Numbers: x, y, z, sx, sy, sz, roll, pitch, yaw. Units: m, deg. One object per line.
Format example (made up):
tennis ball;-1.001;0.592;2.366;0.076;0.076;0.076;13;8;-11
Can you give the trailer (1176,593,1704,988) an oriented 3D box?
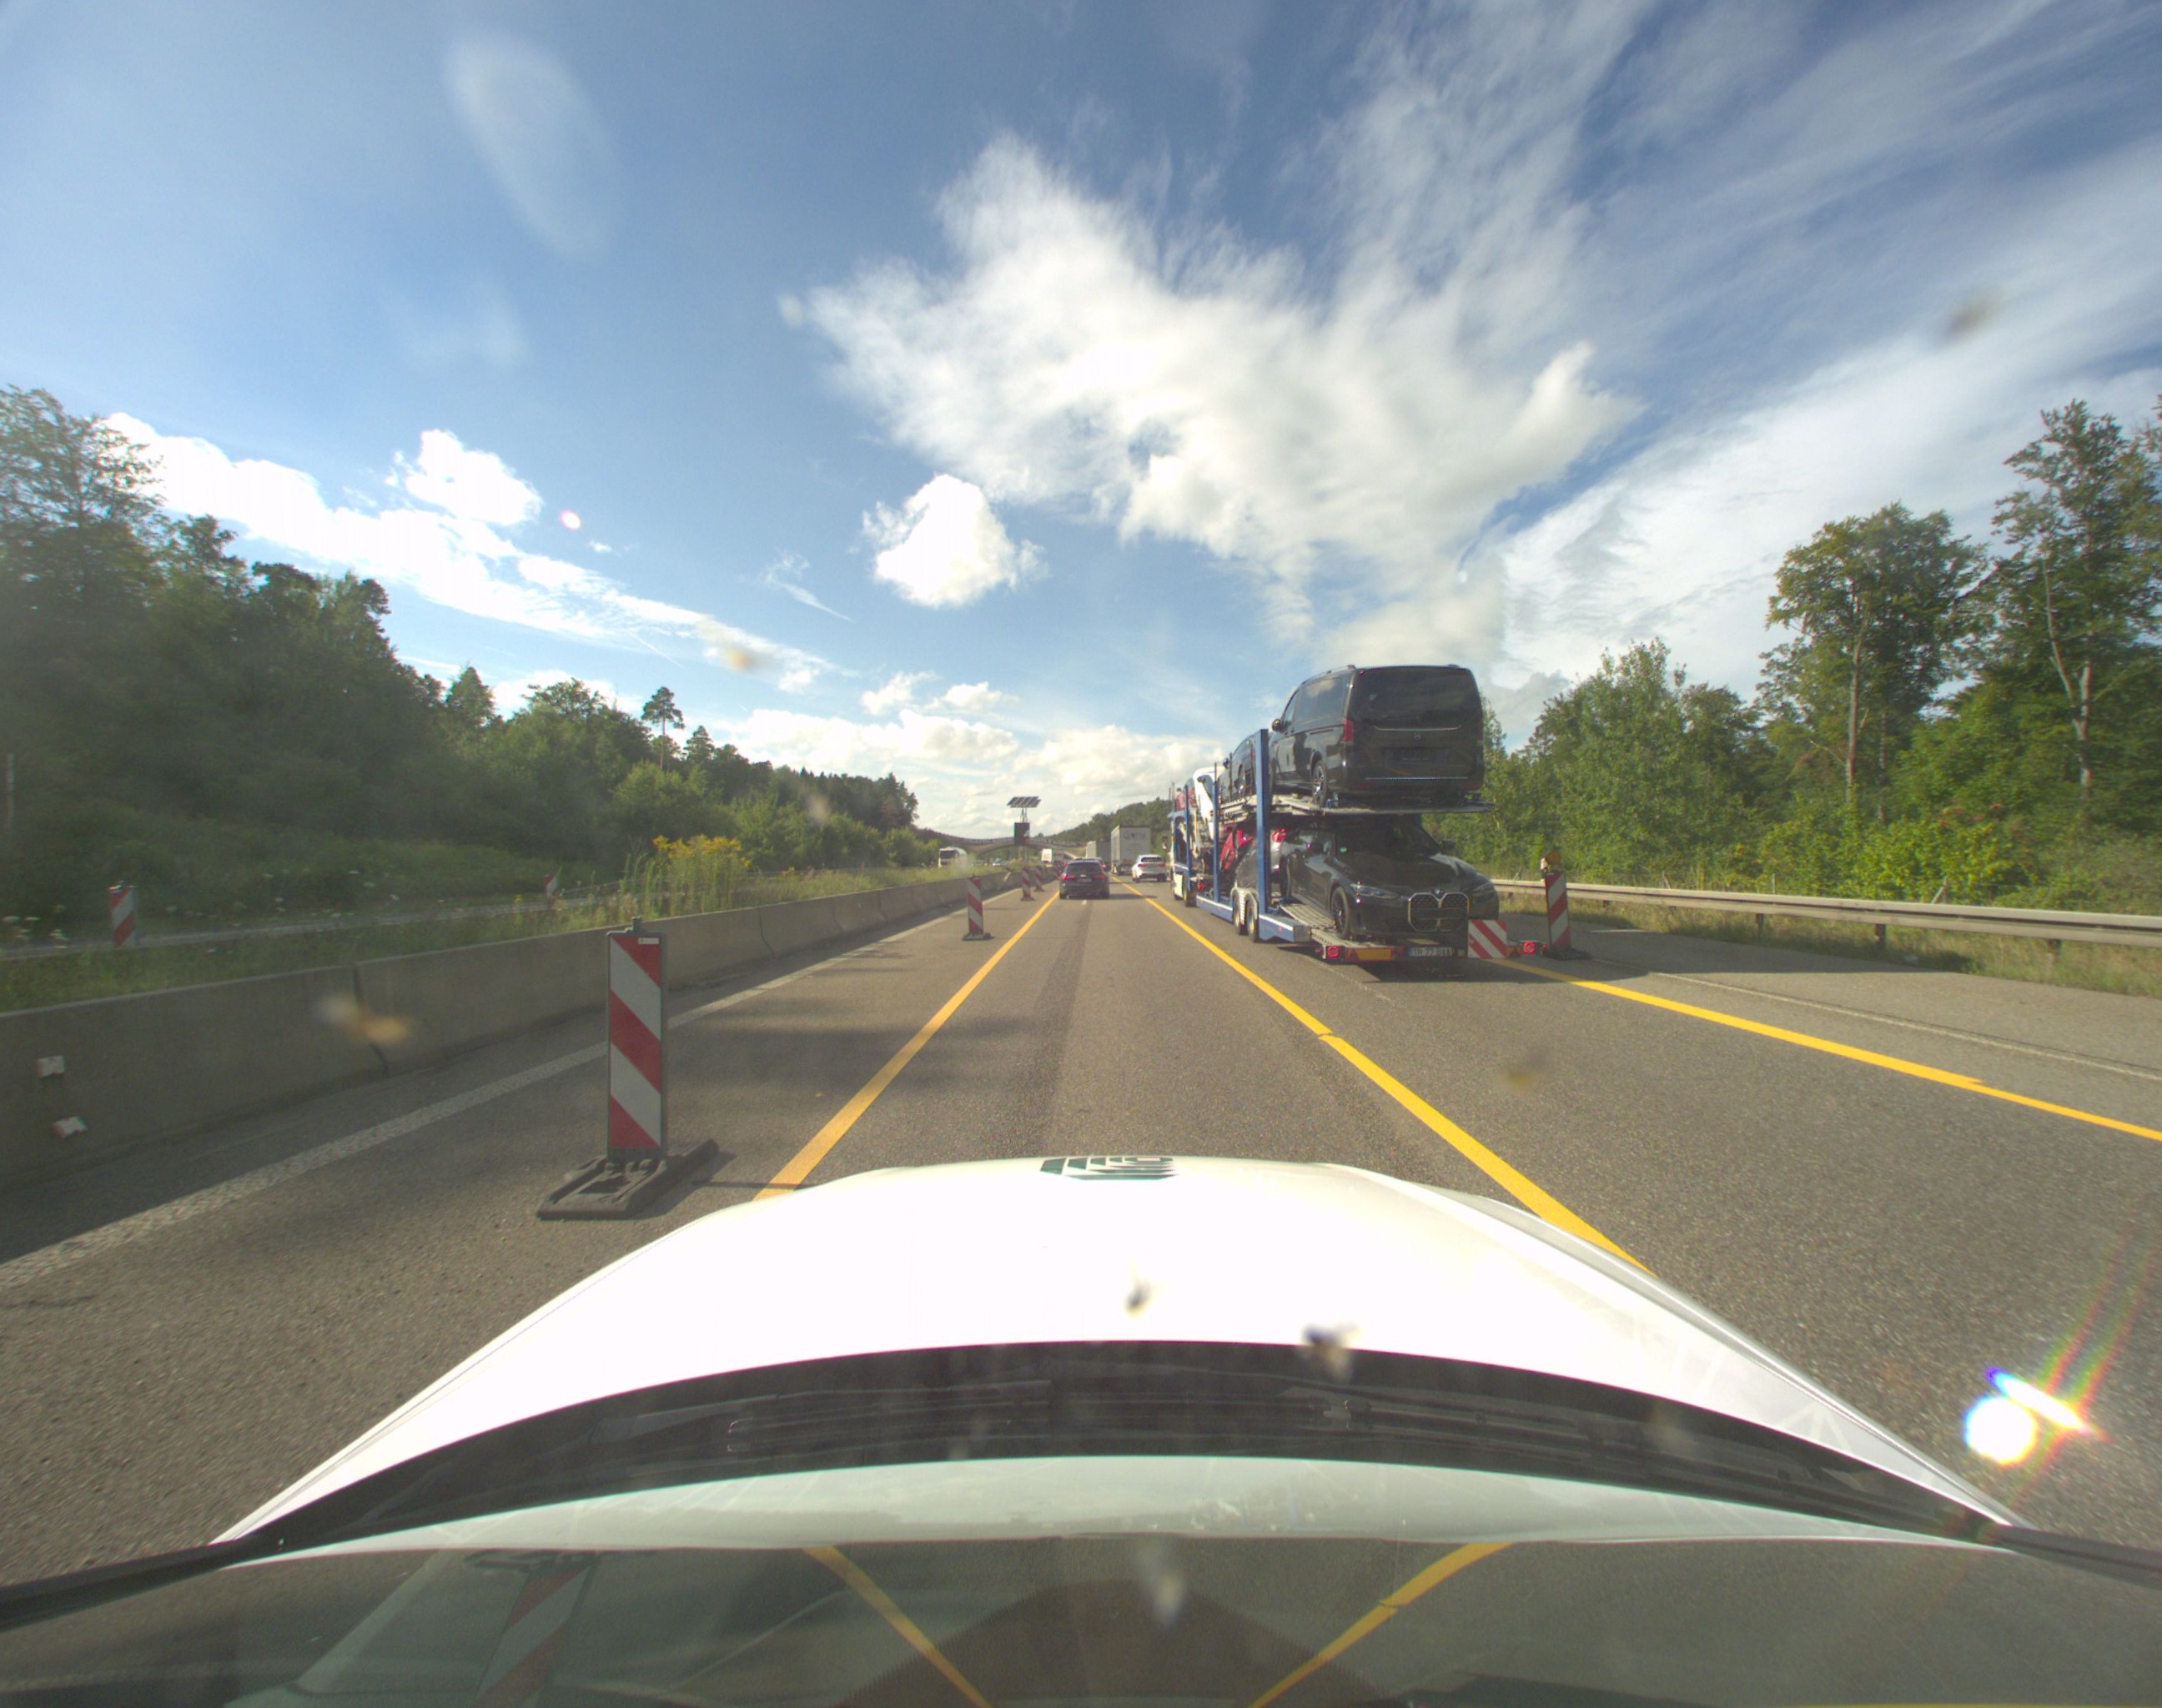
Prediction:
trailer;4.797;-0.614;16.833;3.714;4.196;16.223;-1;-1;0

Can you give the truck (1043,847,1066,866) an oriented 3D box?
truck;-5.831;0.502;174.332;3.652;3.928;11.034;-1;-1;-8

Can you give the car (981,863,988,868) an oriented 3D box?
car;-27.701;3.313;234.151;1.774;1.602;4.671;-1;-1;-3

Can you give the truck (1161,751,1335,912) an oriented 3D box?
truck;4.766;-0.555;25.323;3.749;4.196;7.949;-1;-1;0

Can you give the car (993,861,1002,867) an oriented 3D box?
car;-22.464;2.680;219.753;1.771;1.602;4.019;-1;-1;2

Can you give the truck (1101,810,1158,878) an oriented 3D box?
truck;4.070;-0.703;73.179;3.667;5.353;16.189;-1;-1;-2

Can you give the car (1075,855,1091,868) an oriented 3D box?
car;0.228;1.029;106.915;1.886;1.643;4.012;-1;-1;-3

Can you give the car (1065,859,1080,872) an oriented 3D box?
car;-1.326;1.741;124.451;1.990;2.014;3.994;-1;-1;-4

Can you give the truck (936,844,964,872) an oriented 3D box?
truck;-17.212;0.538;107.214;2.774;3.490;4.941;-1;-1;2

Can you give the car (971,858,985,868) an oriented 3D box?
car;-18.259;1.594;144.644;1.771;1.602;4.019;-1;-1;2

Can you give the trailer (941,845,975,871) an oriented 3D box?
trailer;-17.012;0.594;113.401;2.792;3.490;11.115;-1;-1;1

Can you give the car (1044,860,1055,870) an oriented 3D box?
car;-6.215;2.144;159.601;1.991;2.014;3.992;-1;-1;-6

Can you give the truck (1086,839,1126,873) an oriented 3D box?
truck;3.448;0.317;118.276;4.314;4.600;11.099;-1;-1;-6

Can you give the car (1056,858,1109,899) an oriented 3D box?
car;0.122;0.888;31.071;1.883;1.446;4.001;-1;-1;2

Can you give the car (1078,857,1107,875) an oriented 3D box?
car;0.883;0.959;65.349;1.887;1.446;3.993;-1;-1;-5

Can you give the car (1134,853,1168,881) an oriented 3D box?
car;4.289;0.802;50.490;1.883;1.643;4.019;-1;-1;2
